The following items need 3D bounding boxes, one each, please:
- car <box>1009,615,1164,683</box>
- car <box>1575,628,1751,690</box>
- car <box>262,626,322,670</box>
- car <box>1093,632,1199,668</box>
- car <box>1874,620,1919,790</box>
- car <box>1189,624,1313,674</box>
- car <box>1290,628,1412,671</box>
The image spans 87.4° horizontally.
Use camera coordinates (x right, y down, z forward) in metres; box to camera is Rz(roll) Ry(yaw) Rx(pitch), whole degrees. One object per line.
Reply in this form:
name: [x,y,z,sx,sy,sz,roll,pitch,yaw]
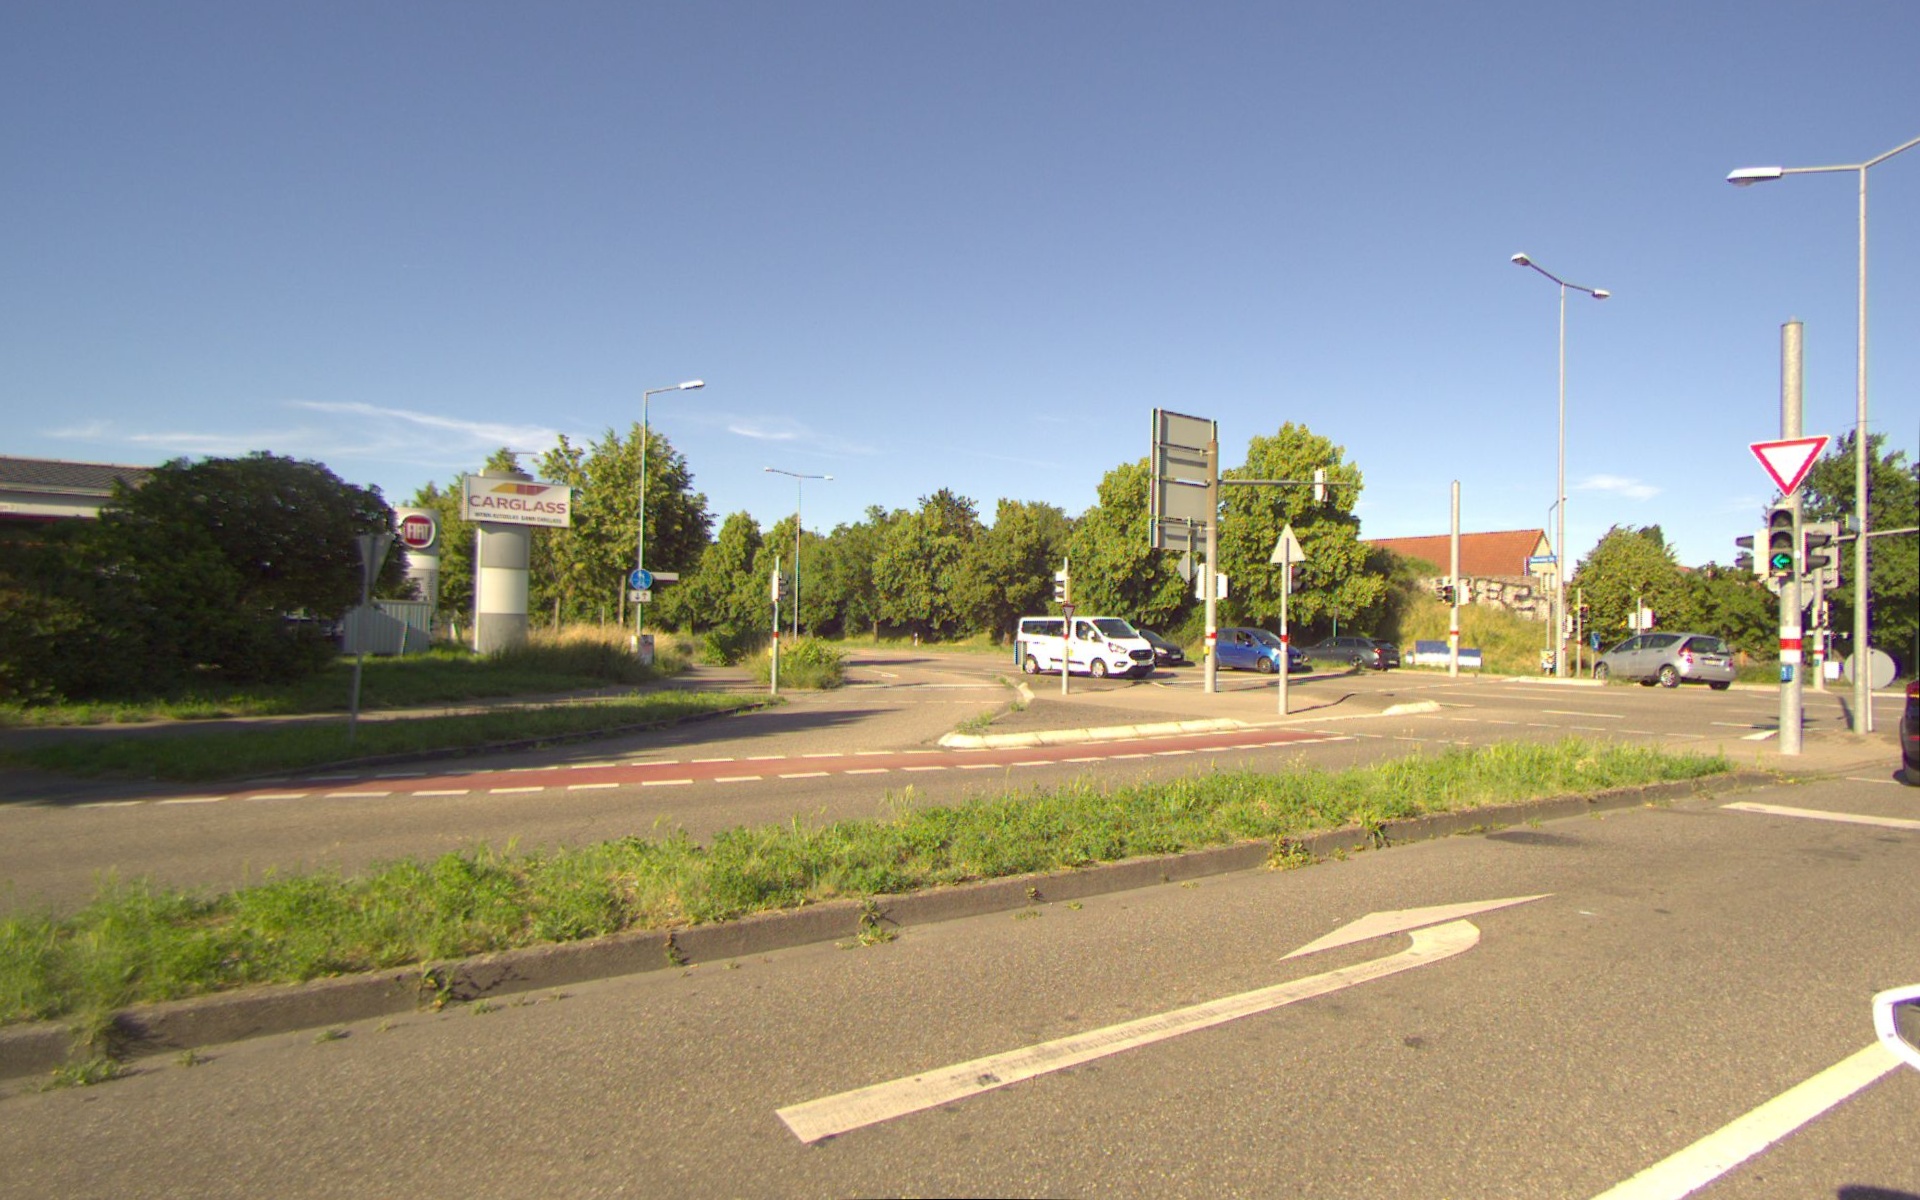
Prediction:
car: [4.034,1.530,32.916,2.028,2.040,5.222,0,-1,-36]
car: [20.696,1.680,29.827,2.008,1.637,4.417,0,-1,-2]
car: [-29.965,2.130,45.153,1.977,1.751,3.966,2,0,-31]
car: [7.390,1.964,40.202,1.875,1.291,3.999,0,-1,-36]
car: [11.305,1.070,10.291,3.954,1.649,1.818,2,-2,-31]
car: [10.394,1.694,36.091,1.875,1.666,3.999,0,-1,-36]
car: [16.074,2.022,41.525,2.026,1.637,4.378,2,-2,-33]
